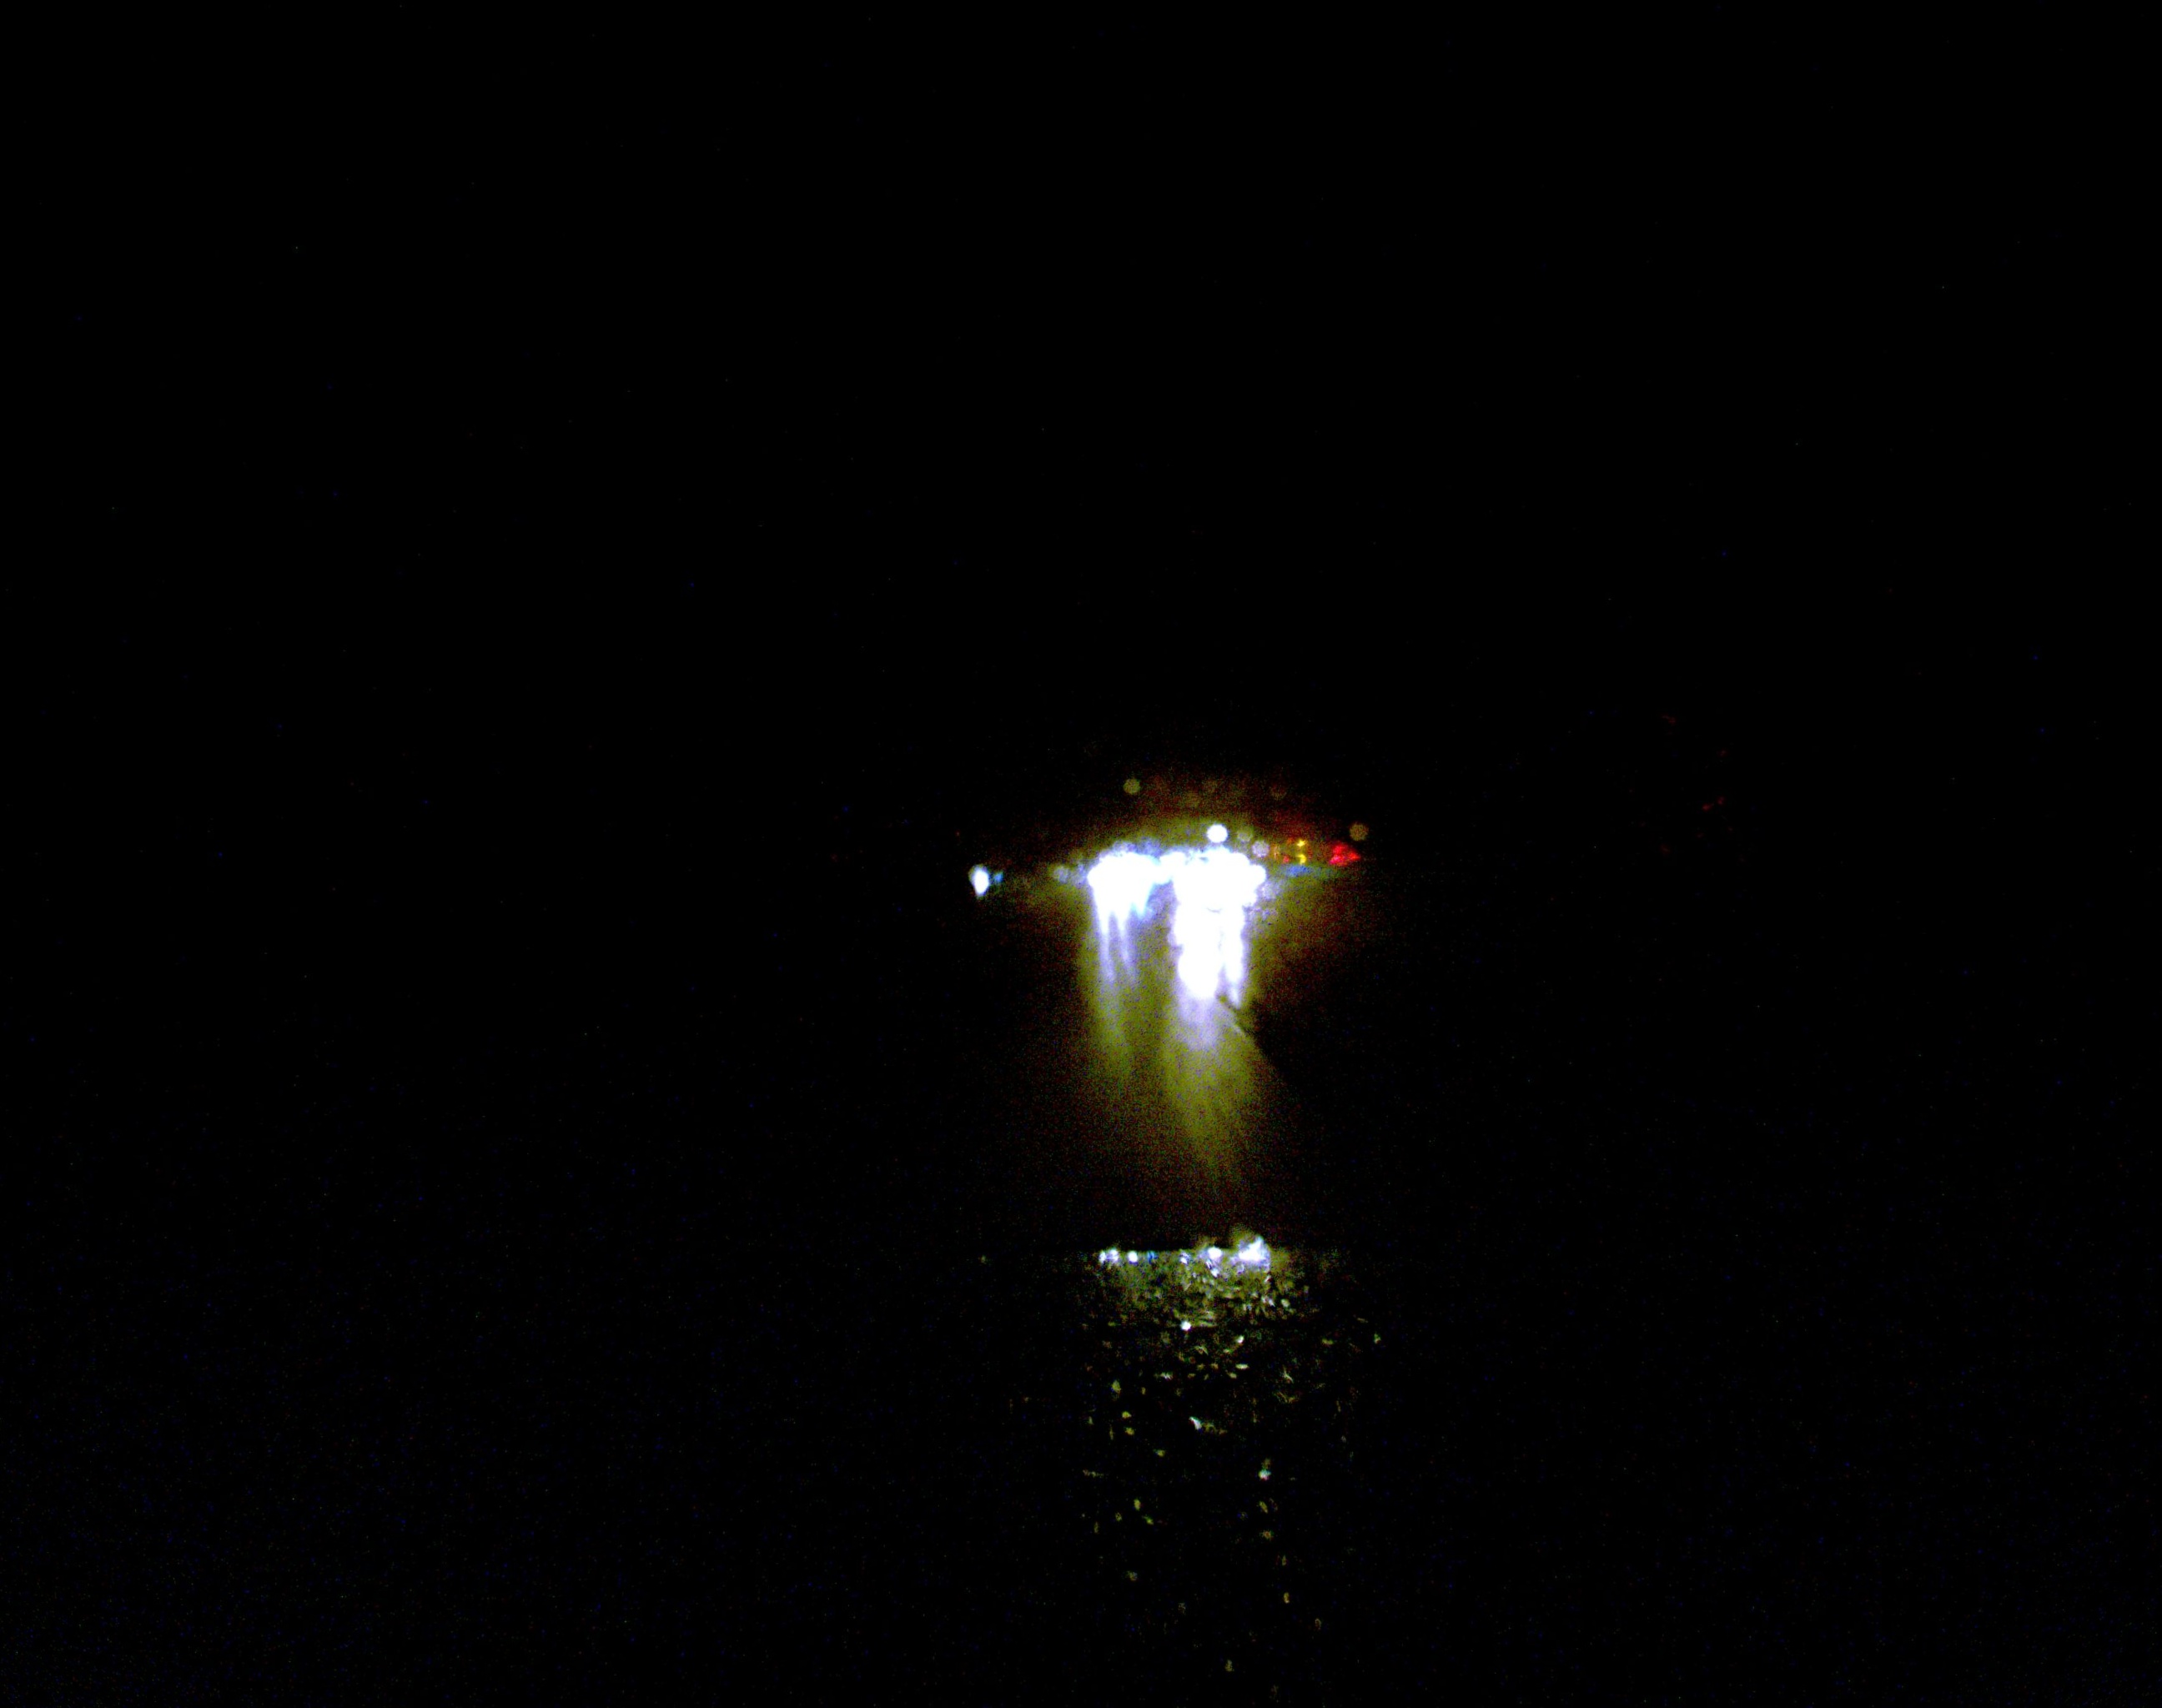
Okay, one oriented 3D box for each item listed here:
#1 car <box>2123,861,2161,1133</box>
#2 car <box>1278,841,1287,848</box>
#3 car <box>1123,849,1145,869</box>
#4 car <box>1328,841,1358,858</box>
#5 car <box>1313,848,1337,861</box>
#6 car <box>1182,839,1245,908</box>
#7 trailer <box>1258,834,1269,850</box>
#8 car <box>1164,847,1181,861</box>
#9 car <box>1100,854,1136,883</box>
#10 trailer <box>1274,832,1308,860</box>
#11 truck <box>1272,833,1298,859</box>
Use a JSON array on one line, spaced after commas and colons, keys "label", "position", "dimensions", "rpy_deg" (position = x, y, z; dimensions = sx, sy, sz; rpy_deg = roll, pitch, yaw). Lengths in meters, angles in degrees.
[{"label": "car", "position": [7.005, 0.810, 2.592], "dimensions": [1.653, 1.566, 3.849], "rpy_deg": [-1, 0, 1]}, {"label": "car", "position": [51.648, -2.375, 194.943], "dimensions": [1.997, 1.718, 4.002], "rpy_deg": [-2, 1, 10]}, {"label": "car", "position": [5.624, 0.520, 81.031], "dimensions": [1.998, 2.002, 4.000], "rpy_deg": [-4, 0, 0]}, {"label": "car", "position": [23.532, -0.447, 68.337], "dimensions": [1.607, 1.335, 3.243], "rpy_deg": [-4, 1, 3]}, {"label": "car", "position": [32.881, 0.052, 102.472], "dimensions": [1.835, 1.703, 3.999], "rpy_deg": [-3, 1, 0]}, {"label": "car", "position": [4.371, 0.607, 25.637], "dimensions": [1.753, 2.093, 4.465], "rpy_deg": [-1, 0, 6]}, {"label": "trailer", "position": [51.577, -3.491, 214.712], "dimensions": [2.579, 4.431, 12.502], "rpy_deg": [-3, 1, 13]}, {"label": "car", "position": [14.088, -0.010, 117.476], "dimensions": [1.998, 2.002, 4.000], "rpy_deg": [-4, 0, 0]}, {"label": "car", "position": [2.398, 0.854, 47.824], "dimensions": [1.891, 1.603, 4.001], "rpy_deg": [-2, 1, 7]}, {"label": "trailer", "position": [27.659, -1.074, 100.376], "dimensions": [2.614, 3.453, 10.449], "rpy_deg": [-2, 1, 7]}, {"label": "truck", "position": [28.231, -1.184, 105.354], "dimensions": [2.609, 3.438, 4.642], "rpy_deg": [-2, 1, 6]}]
